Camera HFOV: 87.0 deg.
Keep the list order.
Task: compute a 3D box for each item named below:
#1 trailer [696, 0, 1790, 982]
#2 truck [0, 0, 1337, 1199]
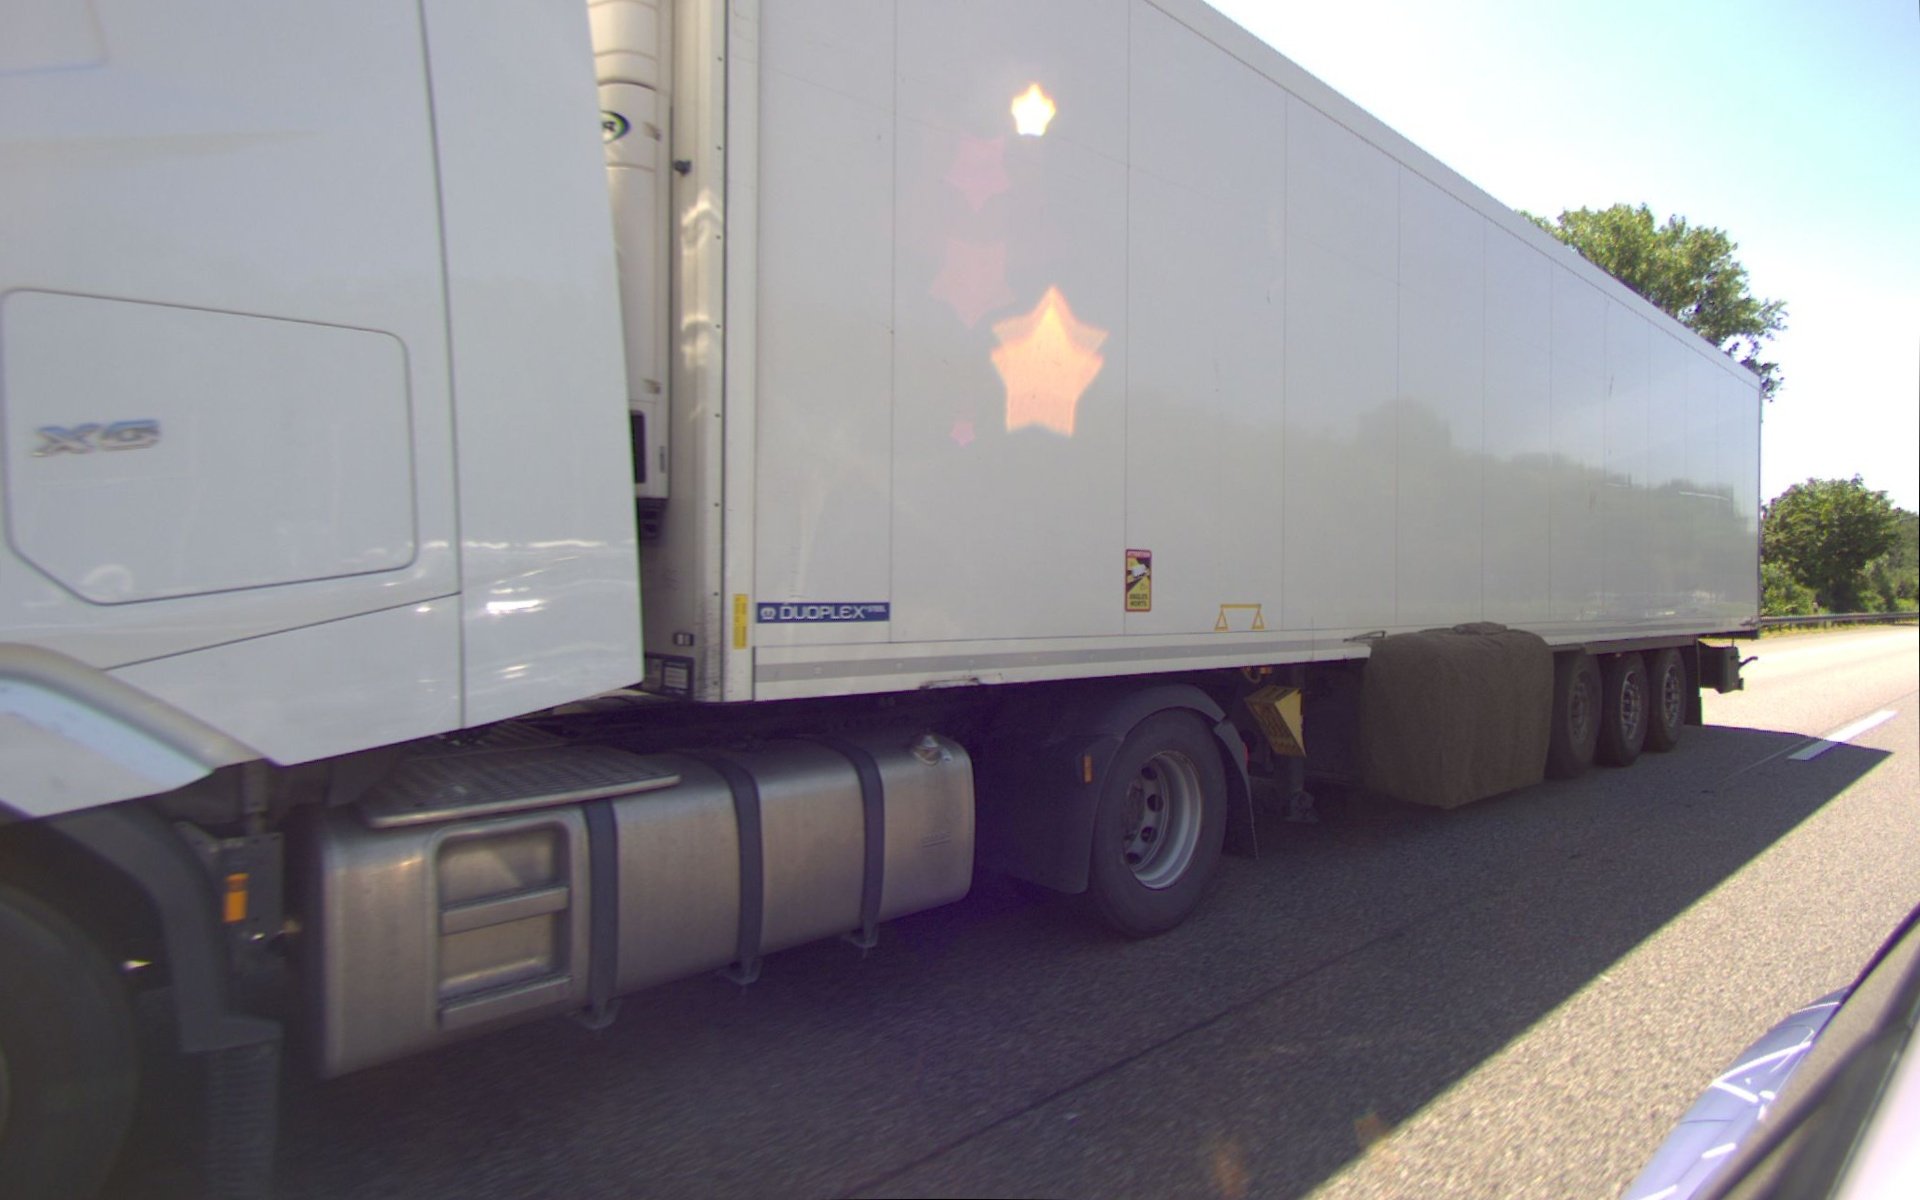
[{"bbox_3d":[4.058,-0.767,8.800,12.315,4.157,2.964,0,1,-41],"label":"trailer"},{"bbox_3d":[-1.461,-0.729,3.923,6.099,4.157,2.964,0,0,-41],"label":"truck"}]
